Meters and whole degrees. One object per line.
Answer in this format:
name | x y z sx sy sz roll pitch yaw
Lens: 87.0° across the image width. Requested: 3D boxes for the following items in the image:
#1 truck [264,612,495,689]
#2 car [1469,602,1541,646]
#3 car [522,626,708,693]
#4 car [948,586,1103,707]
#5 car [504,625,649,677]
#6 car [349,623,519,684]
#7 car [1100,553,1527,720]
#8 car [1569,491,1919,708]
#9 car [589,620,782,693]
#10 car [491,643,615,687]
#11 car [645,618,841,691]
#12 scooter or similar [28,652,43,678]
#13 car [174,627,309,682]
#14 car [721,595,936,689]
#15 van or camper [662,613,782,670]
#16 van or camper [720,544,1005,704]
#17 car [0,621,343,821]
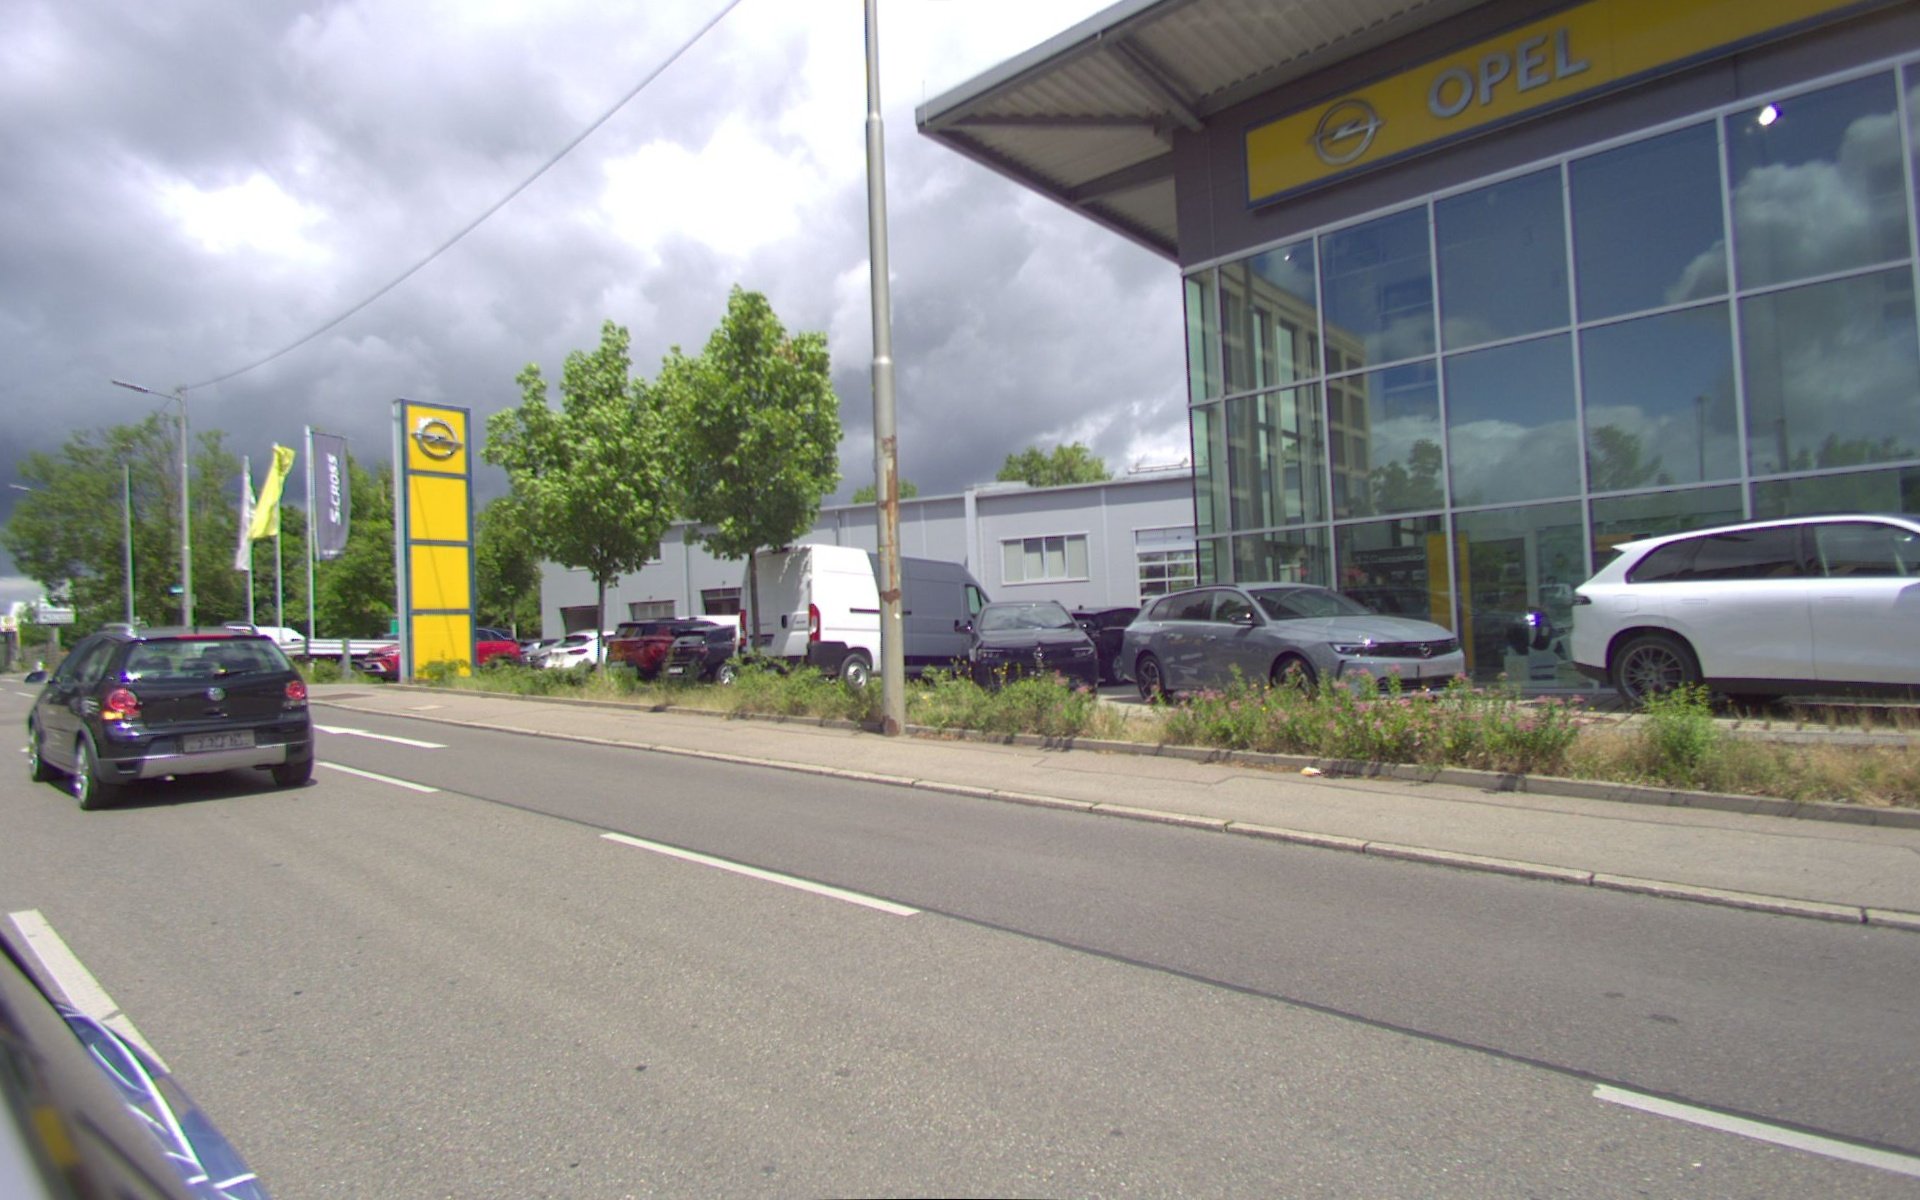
truck | -18.063 1.496 31.780 2.473 2.164 5.805 -2 -2 38
car | 17.723 0.783 33.034 1.652 1.294 3.451 -4 -2 23
car | -8.554 1.438 25.317 1.998 1.420 3.947 -3 -2 40
car | 0.815 0.656 15.184 1.915 1.520 4.477 -1 -2 -1
car | -12.309 1.679 32.676 1.825 1.534 4.037 -5 -6 40
car | -15.038 1.574 29.071 1.753 1.601 3.944 -5 -6 42
car | 3.663 0.439 11.658 1.868 1.462 4.847 -2 -2 -21
car | 7.743 -0.008 8.111 1.903 1.584 4.568 -1 -1 -25
car | -6.482 1.319 24.130 2.000 1.503 3.943 -5 -3 44
car | -14.418 2.278 35.976 1.645 1.338 3.783 -2 -1 41
car | -4.797 1.153 22.719 1.927 1.420 3.946 -2 -1 40
scooter or similar | -48.520 3.423 53.134 0.528 1.275 1.473 -2 -2 -43
car | -29.790 2.229 42.024 2.196 2.029 4.120 -5 -3 39
car | -2.661 0.831 20.922 3.940 1.719 2.002 -1 -3 -44
van or camper | -10.936 1.895 47.063 2.486 2.373 5.856 -4 -2 22
van or camper | -1.650 0.437 18.732 2.316 2.550 4.975 -5 -3 40
car | -7.798 1.006 9.838 4.273 1.520 1.811 -2 -2 40
